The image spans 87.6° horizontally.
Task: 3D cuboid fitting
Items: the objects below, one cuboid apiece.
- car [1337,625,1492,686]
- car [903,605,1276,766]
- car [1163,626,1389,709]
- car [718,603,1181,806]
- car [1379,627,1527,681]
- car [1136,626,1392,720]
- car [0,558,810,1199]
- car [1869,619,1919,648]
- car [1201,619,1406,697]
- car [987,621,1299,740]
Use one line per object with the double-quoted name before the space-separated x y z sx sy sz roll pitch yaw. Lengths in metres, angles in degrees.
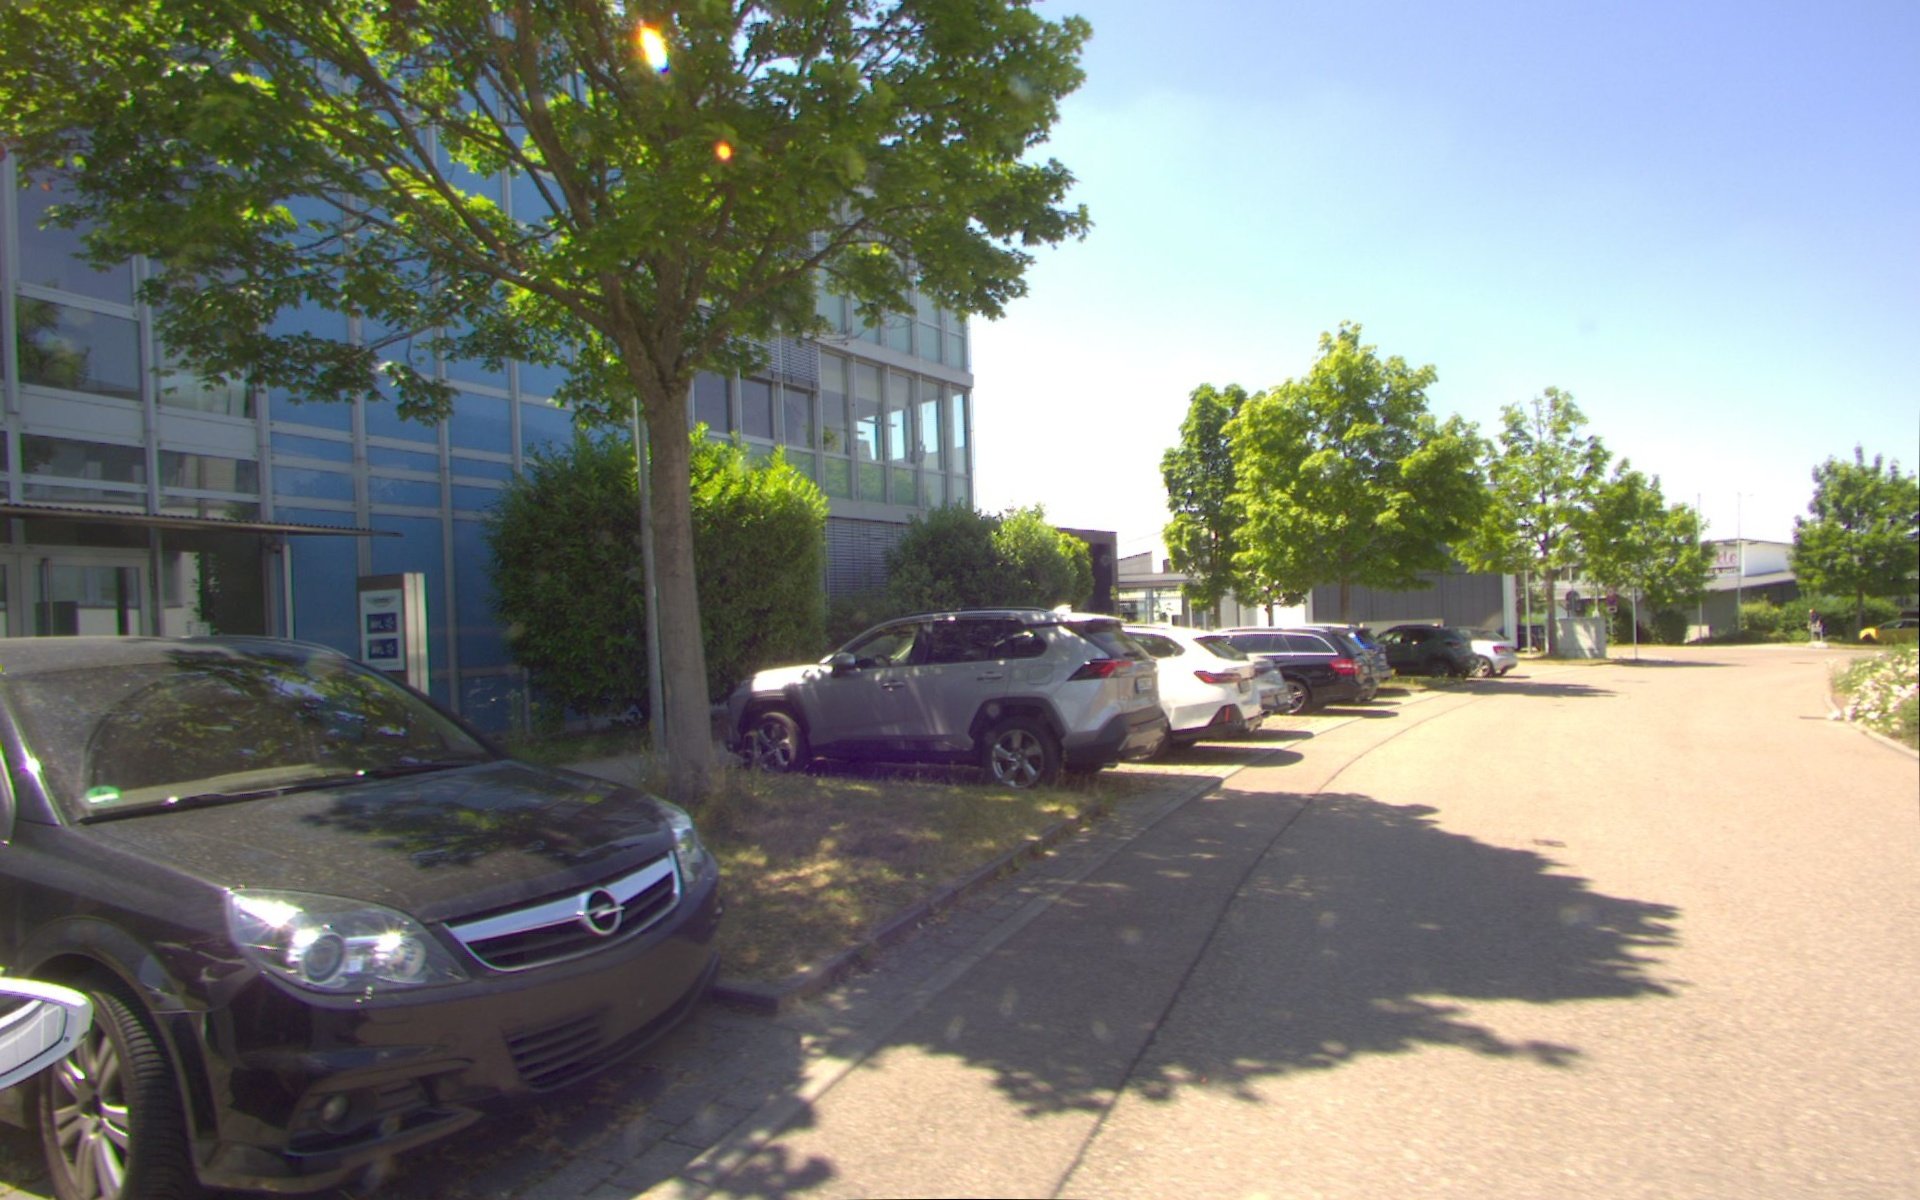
"car" 12.448 1.471 27.541 3.553 1.545 1.621 -1 -2 45
"car" 1.518 0.928 12.017 4.136 1.664 1.655 -1 -1 27
"car" 6.315 1.288 20.102 4.113 1.505 1.655 -1 -1 28
"car" -0.139 0.900 9.984 4.264 1.664 1.851 -1 -1 27
"car" 14.257 1.513 29.058 3.553 1.461 1.621 -1 -2 45
"car" 5.391 1.221 17.971 4.121 1.505 1.651 -1 -1 35
"car" -2.938 0.793 3.699 4.491 1.569 1.759 -2 -2 25
"car" 48.820 1.724 51.124 1.560 1.460 3.214 -1 -2 -11
"car" 7.750 1.266 22.821 4.130 1.625 1.648 -1 -2 41
"car" 2.589 1.055 14.320 4.112 1.505 1.655 -1 -1 27
